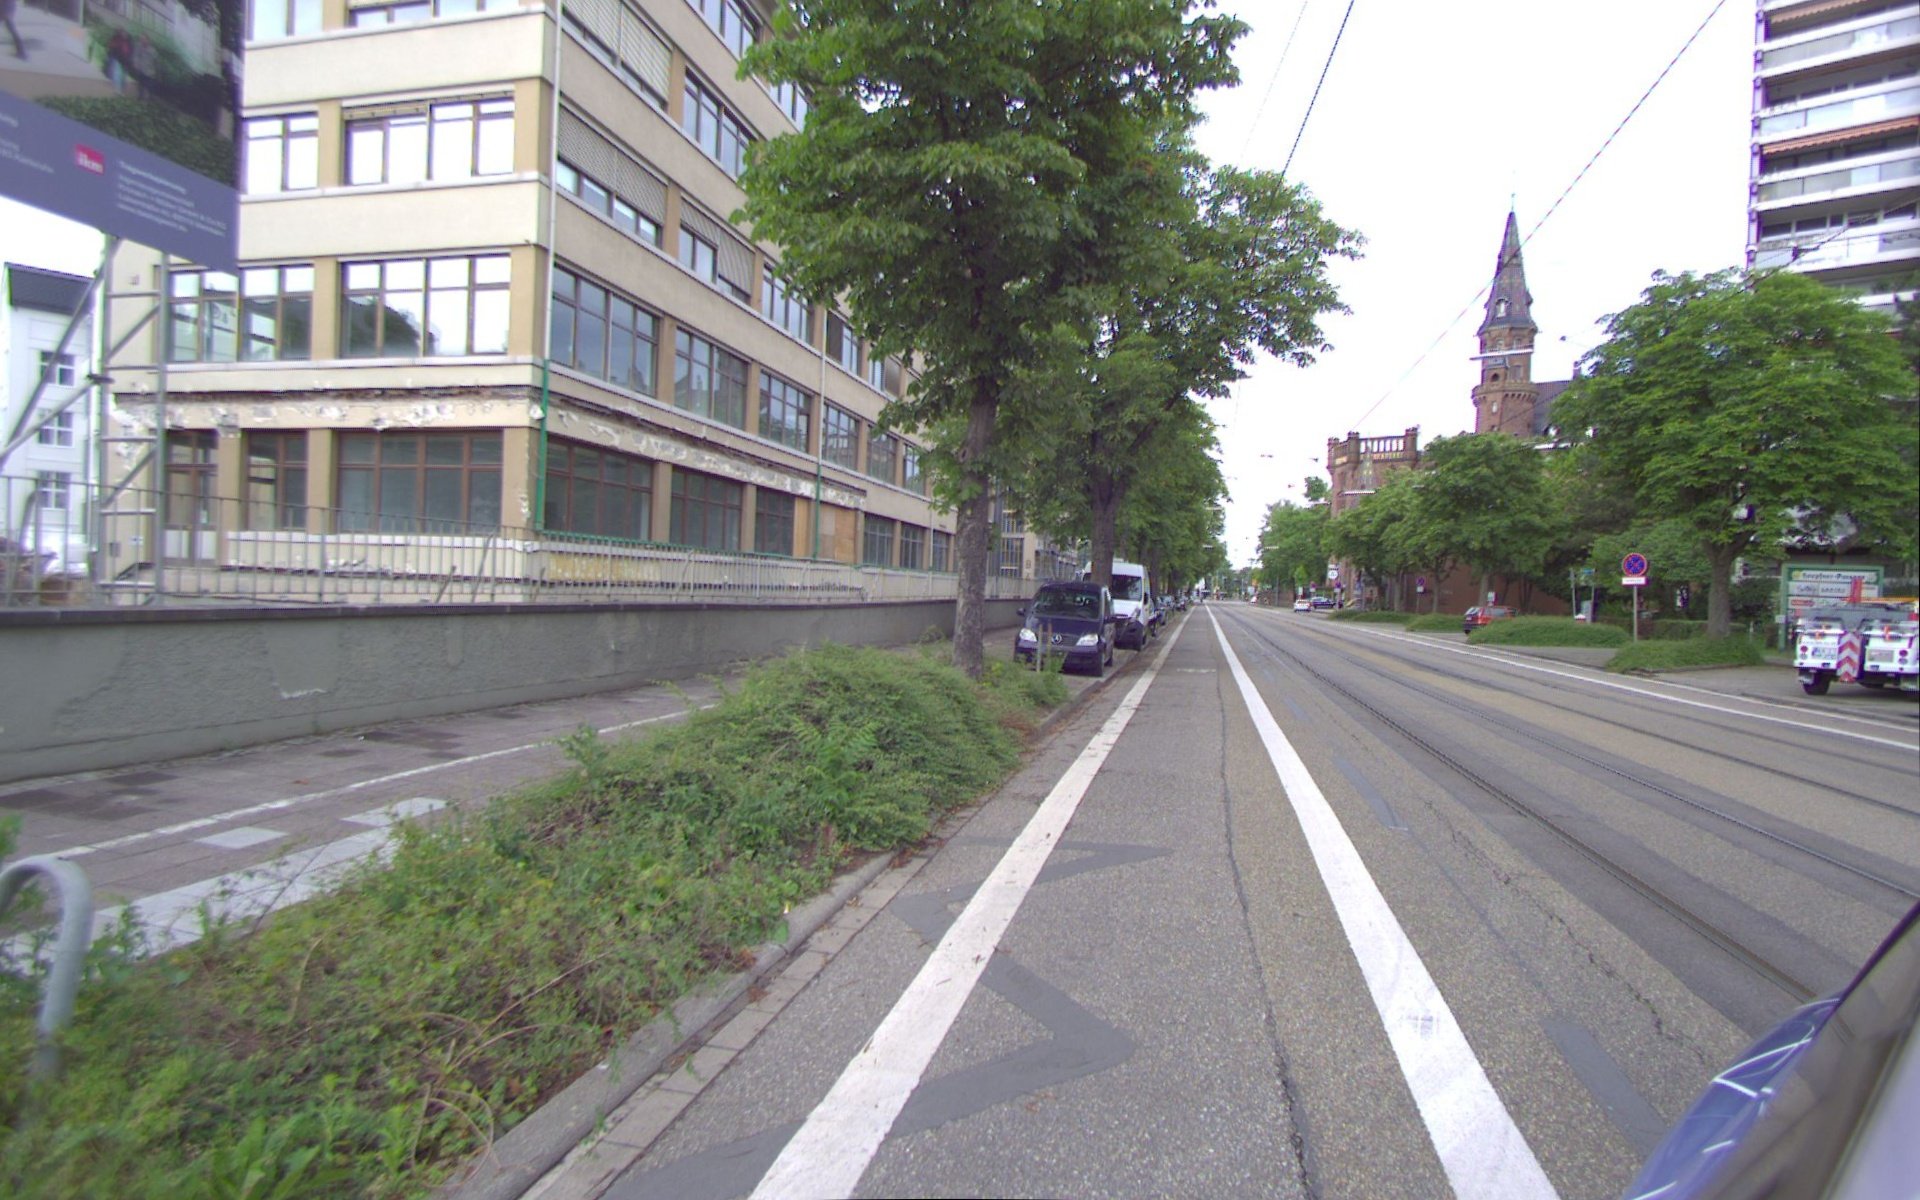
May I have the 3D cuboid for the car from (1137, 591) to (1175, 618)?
[{"bbox_3d":[11.604,0.227,59.748,1.970,1.479,4.375,1,1,13],"label":"car"}]

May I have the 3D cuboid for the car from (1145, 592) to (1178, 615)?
[{"bbox_3d":[13.705,0.200,68.651,1.970,1.479,4.375,1,1,13],"label":"car"}]

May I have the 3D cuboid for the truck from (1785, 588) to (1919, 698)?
[{"bbox_3d":[18.345,0.773,19.624,4.963,1.872,2.002,1,0,-30],"label":"truck"}]

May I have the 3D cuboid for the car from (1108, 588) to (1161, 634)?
[{"bbox_3d":[6.681,0.366,38.754,1.797,1.518,4.095,4,2,10],"label":"car"}]

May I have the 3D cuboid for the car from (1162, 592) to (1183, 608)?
[{"bbox_3d":[21.513,-0.012,102.261,1.970,1.479,4.375,1,1,13],"label":"car"}]

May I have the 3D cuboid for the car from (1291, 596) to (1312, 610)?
[{"bbox_3d":[39.991,0.346,118.535,1.970,1.549,3.984,3,1,13],"label":"car"}]

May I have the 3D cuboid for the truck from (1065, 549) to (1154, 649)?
[{"bbox_3d":[4.540,-0.033,30.019,2.088,2.635,5.468,-2,0,14],"label":"truck"}]

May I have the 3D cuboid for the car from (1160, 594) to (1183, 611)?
[{"bbox_3d":[19.006,0.204,90.826,1.970,1.479,4.375,1,1,13],"label":"car"}]

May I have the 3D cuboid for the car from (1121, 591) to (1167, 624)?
[{"bbox_3d":[8.946,0.319,48.908,1.970,1.479,4.375,1,1,13],"label":"car"}]

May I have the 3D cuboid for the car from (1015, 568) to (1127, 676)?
[{"bbox_3d":[2.316,0.349,20.270,1.635,1.834,4.068,4,2,13],"label":"car"}]

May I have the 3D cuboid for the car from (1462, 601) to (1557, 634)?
[{"bbox_3d":[25.395,0.786,46.827,3.437,1.394,1.635,1,1,1],"label":"car"}]

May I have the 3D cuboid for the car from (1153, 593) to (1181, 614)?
[{"bbox_3d":[15.655,0.219,76.423,1.970,1.479,4.375,1,1,13],"label":"car"}]

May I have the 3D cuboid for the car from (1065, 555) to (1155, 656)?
[{"bbox_3d":[4.537,0.117,29.849,2.088,2.635,5.468,1,1,14],"label":"car"}]

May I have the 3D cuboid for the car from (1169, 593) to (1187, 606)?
[{"bbox_3d":[24.933,-0.092,115.571,1.970,1.479,4.375,1,1,13],"label":"car"}]
